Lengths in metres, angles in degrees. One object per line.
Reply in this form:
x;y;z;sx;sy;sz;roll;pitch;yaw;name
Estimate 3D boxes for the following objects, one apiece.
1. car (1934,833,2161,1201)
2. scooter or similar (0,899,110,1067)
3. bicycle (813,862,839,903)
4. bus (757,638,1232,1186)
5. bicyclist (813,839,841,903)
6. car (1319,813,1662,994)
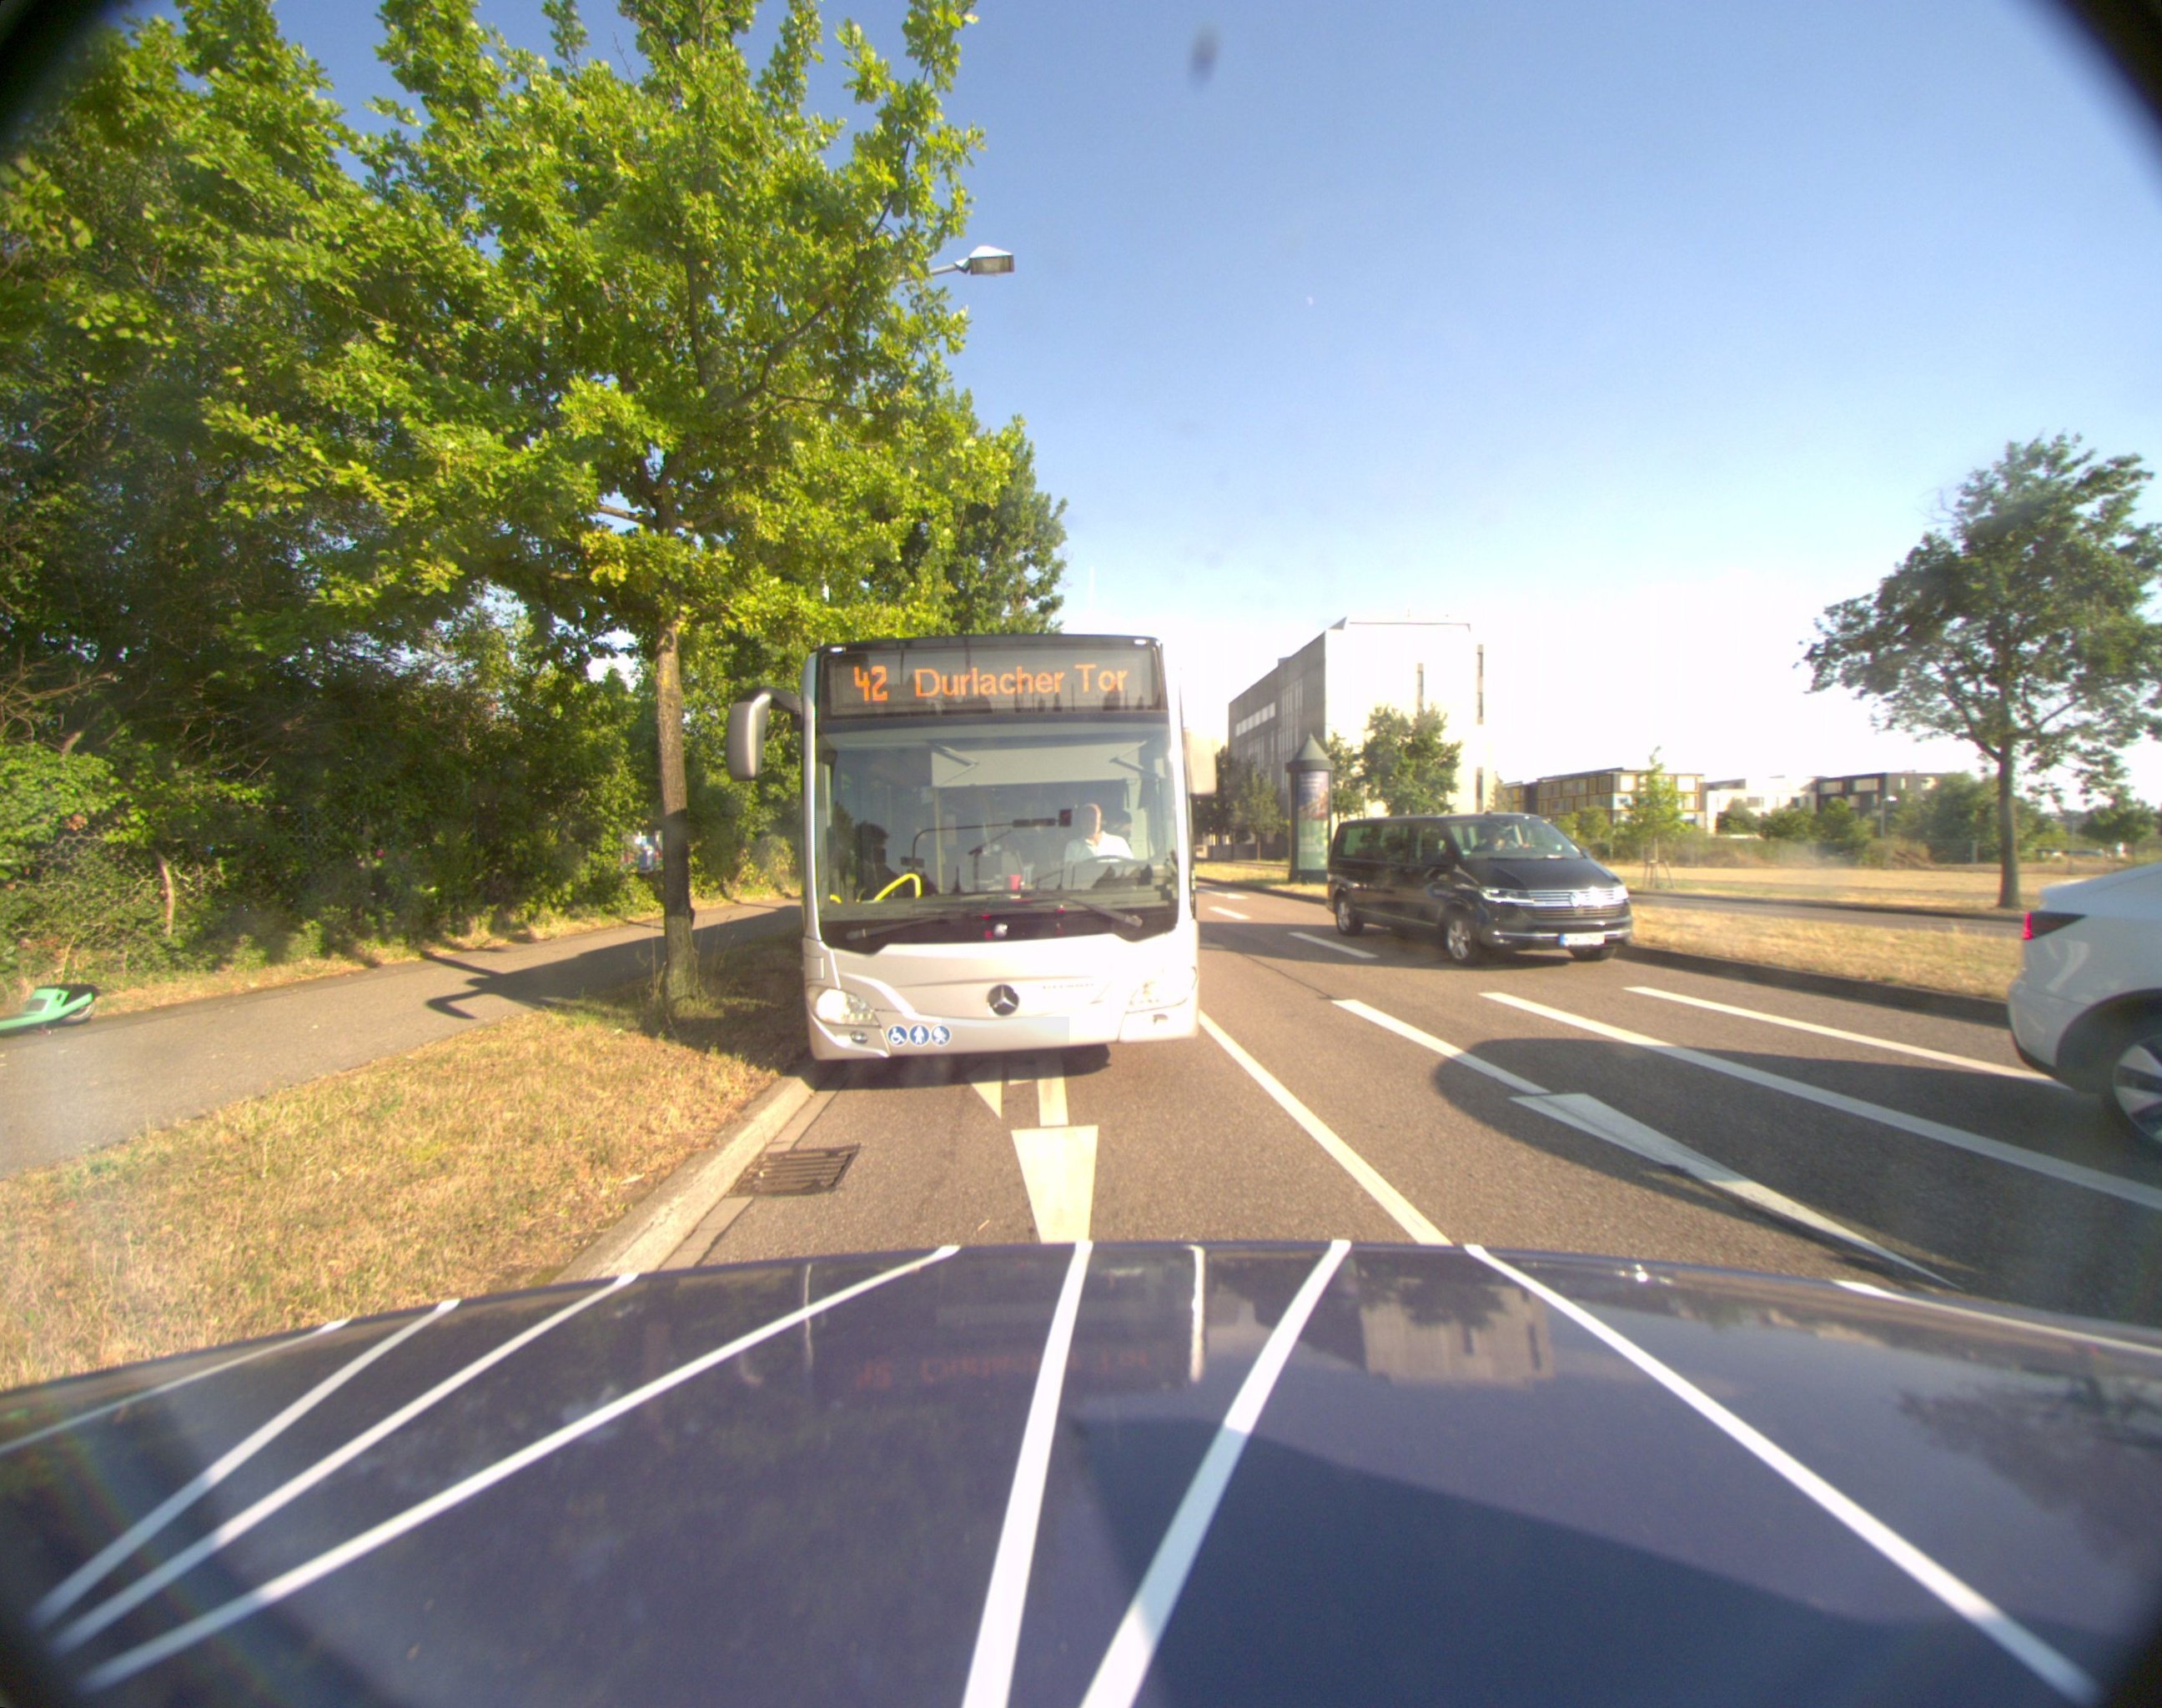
5.670;0.703;1.863;1.740;1.590;4.675;-2;0;-4;car
-7.549;0.906;5.247;0.249;1.120;1.095;2;1;1;scooter or similar
-7.502;0.811;22.415;0.416;1.151;1.889;2;0;-10;bicycle
-0.912;0.278;10.133;2.596;3.025;11.713;-1;0;-5;bus
-7.512;0.495;22.507;0.621;1.819;0.829;3;1;-14;bicyclist
5.280;0.508;10.811;1.861;1.921;5.010;-2;1;-4;car
